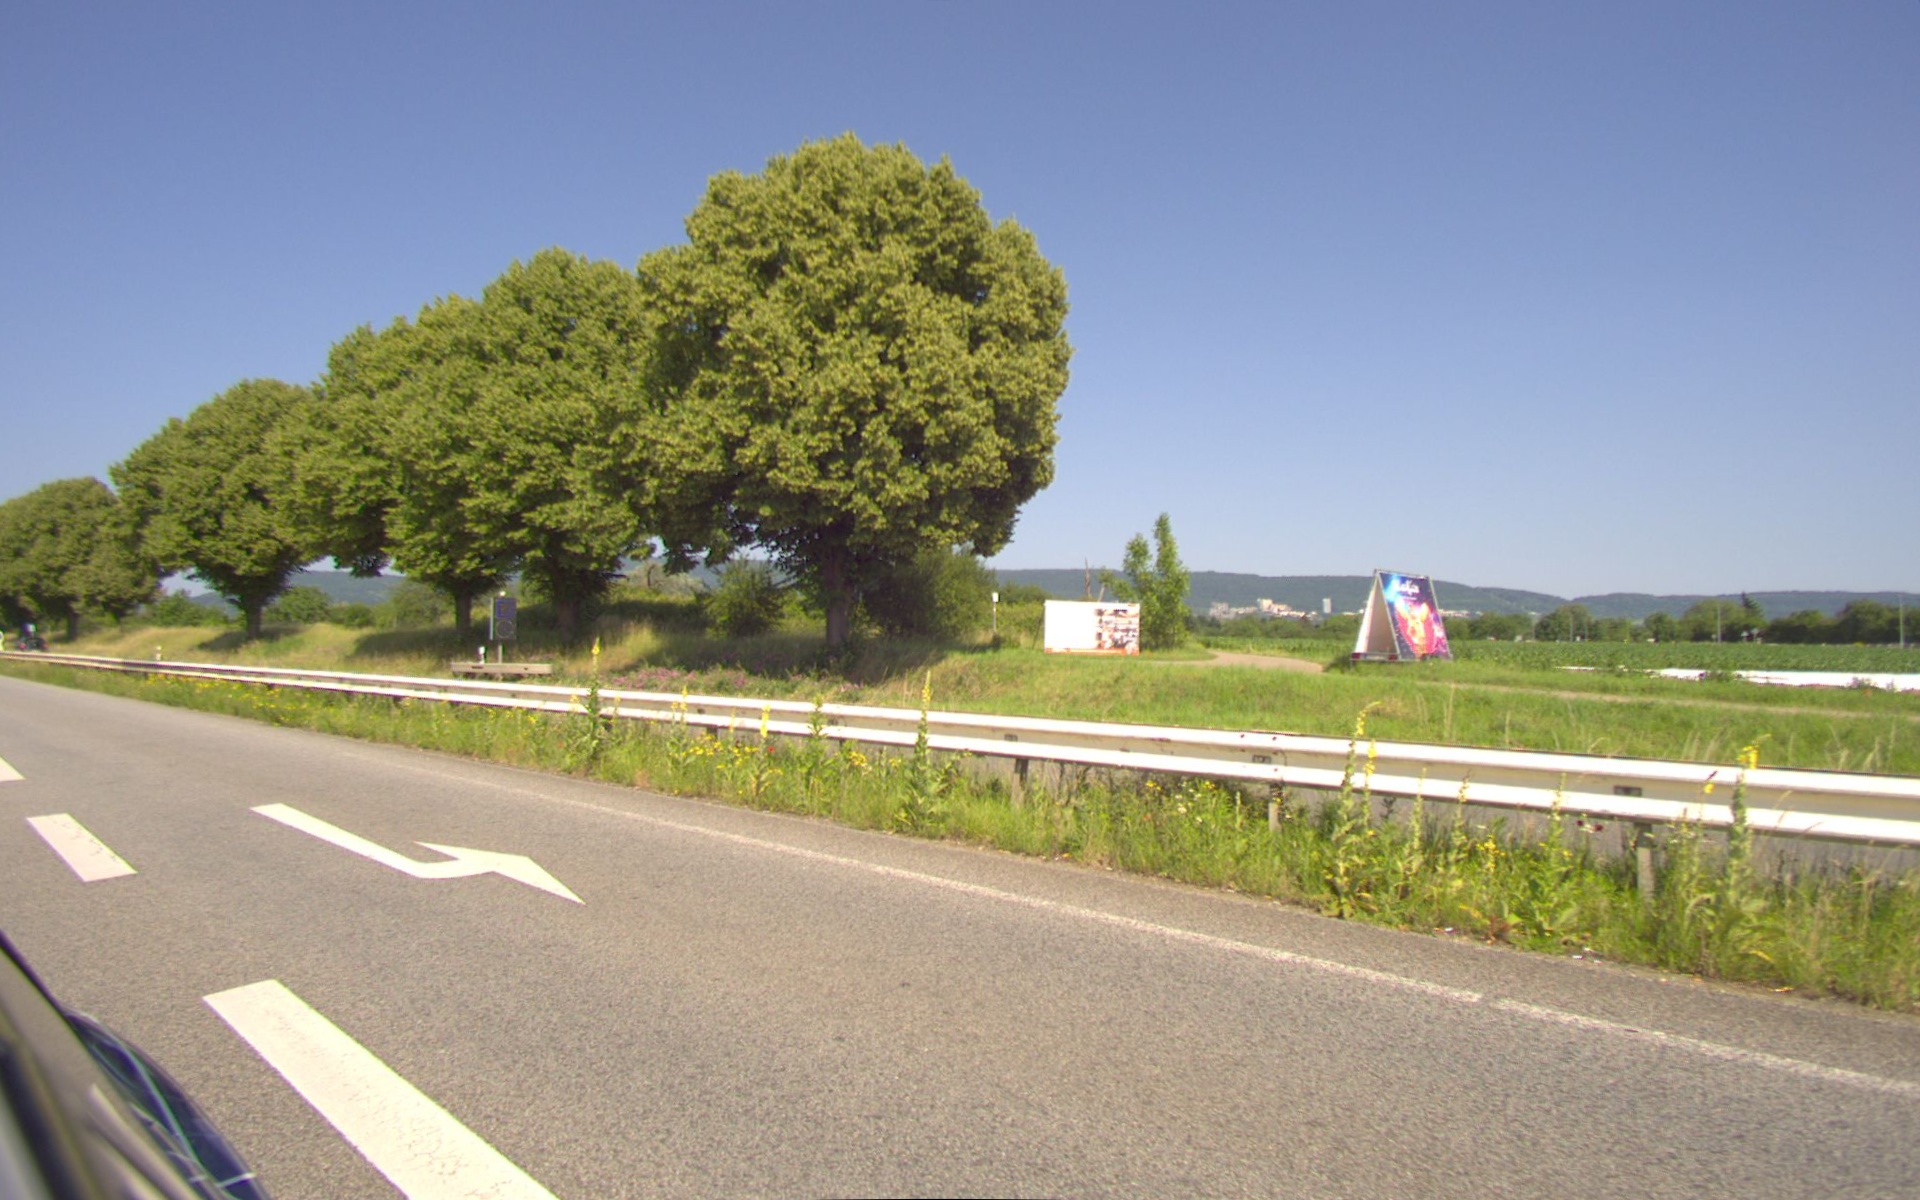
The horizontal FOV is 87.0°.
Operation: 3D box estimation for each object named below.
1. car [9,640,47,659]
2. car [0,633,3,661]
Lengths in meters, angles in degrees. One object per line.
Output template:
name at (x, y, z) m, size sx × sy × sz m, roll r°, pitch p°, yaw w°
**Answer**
car at (-71.691, 3.804, 77.833) m, size 3.698 × 1.475 × 1.703 m, roll -2°, pitch -4°, yaw 41°
car at (-66.131, 3.168, 68.232) m, size 3.998 × 1.816 × 1.972 m, roll -2°, pitch -3°, yaw 41°
